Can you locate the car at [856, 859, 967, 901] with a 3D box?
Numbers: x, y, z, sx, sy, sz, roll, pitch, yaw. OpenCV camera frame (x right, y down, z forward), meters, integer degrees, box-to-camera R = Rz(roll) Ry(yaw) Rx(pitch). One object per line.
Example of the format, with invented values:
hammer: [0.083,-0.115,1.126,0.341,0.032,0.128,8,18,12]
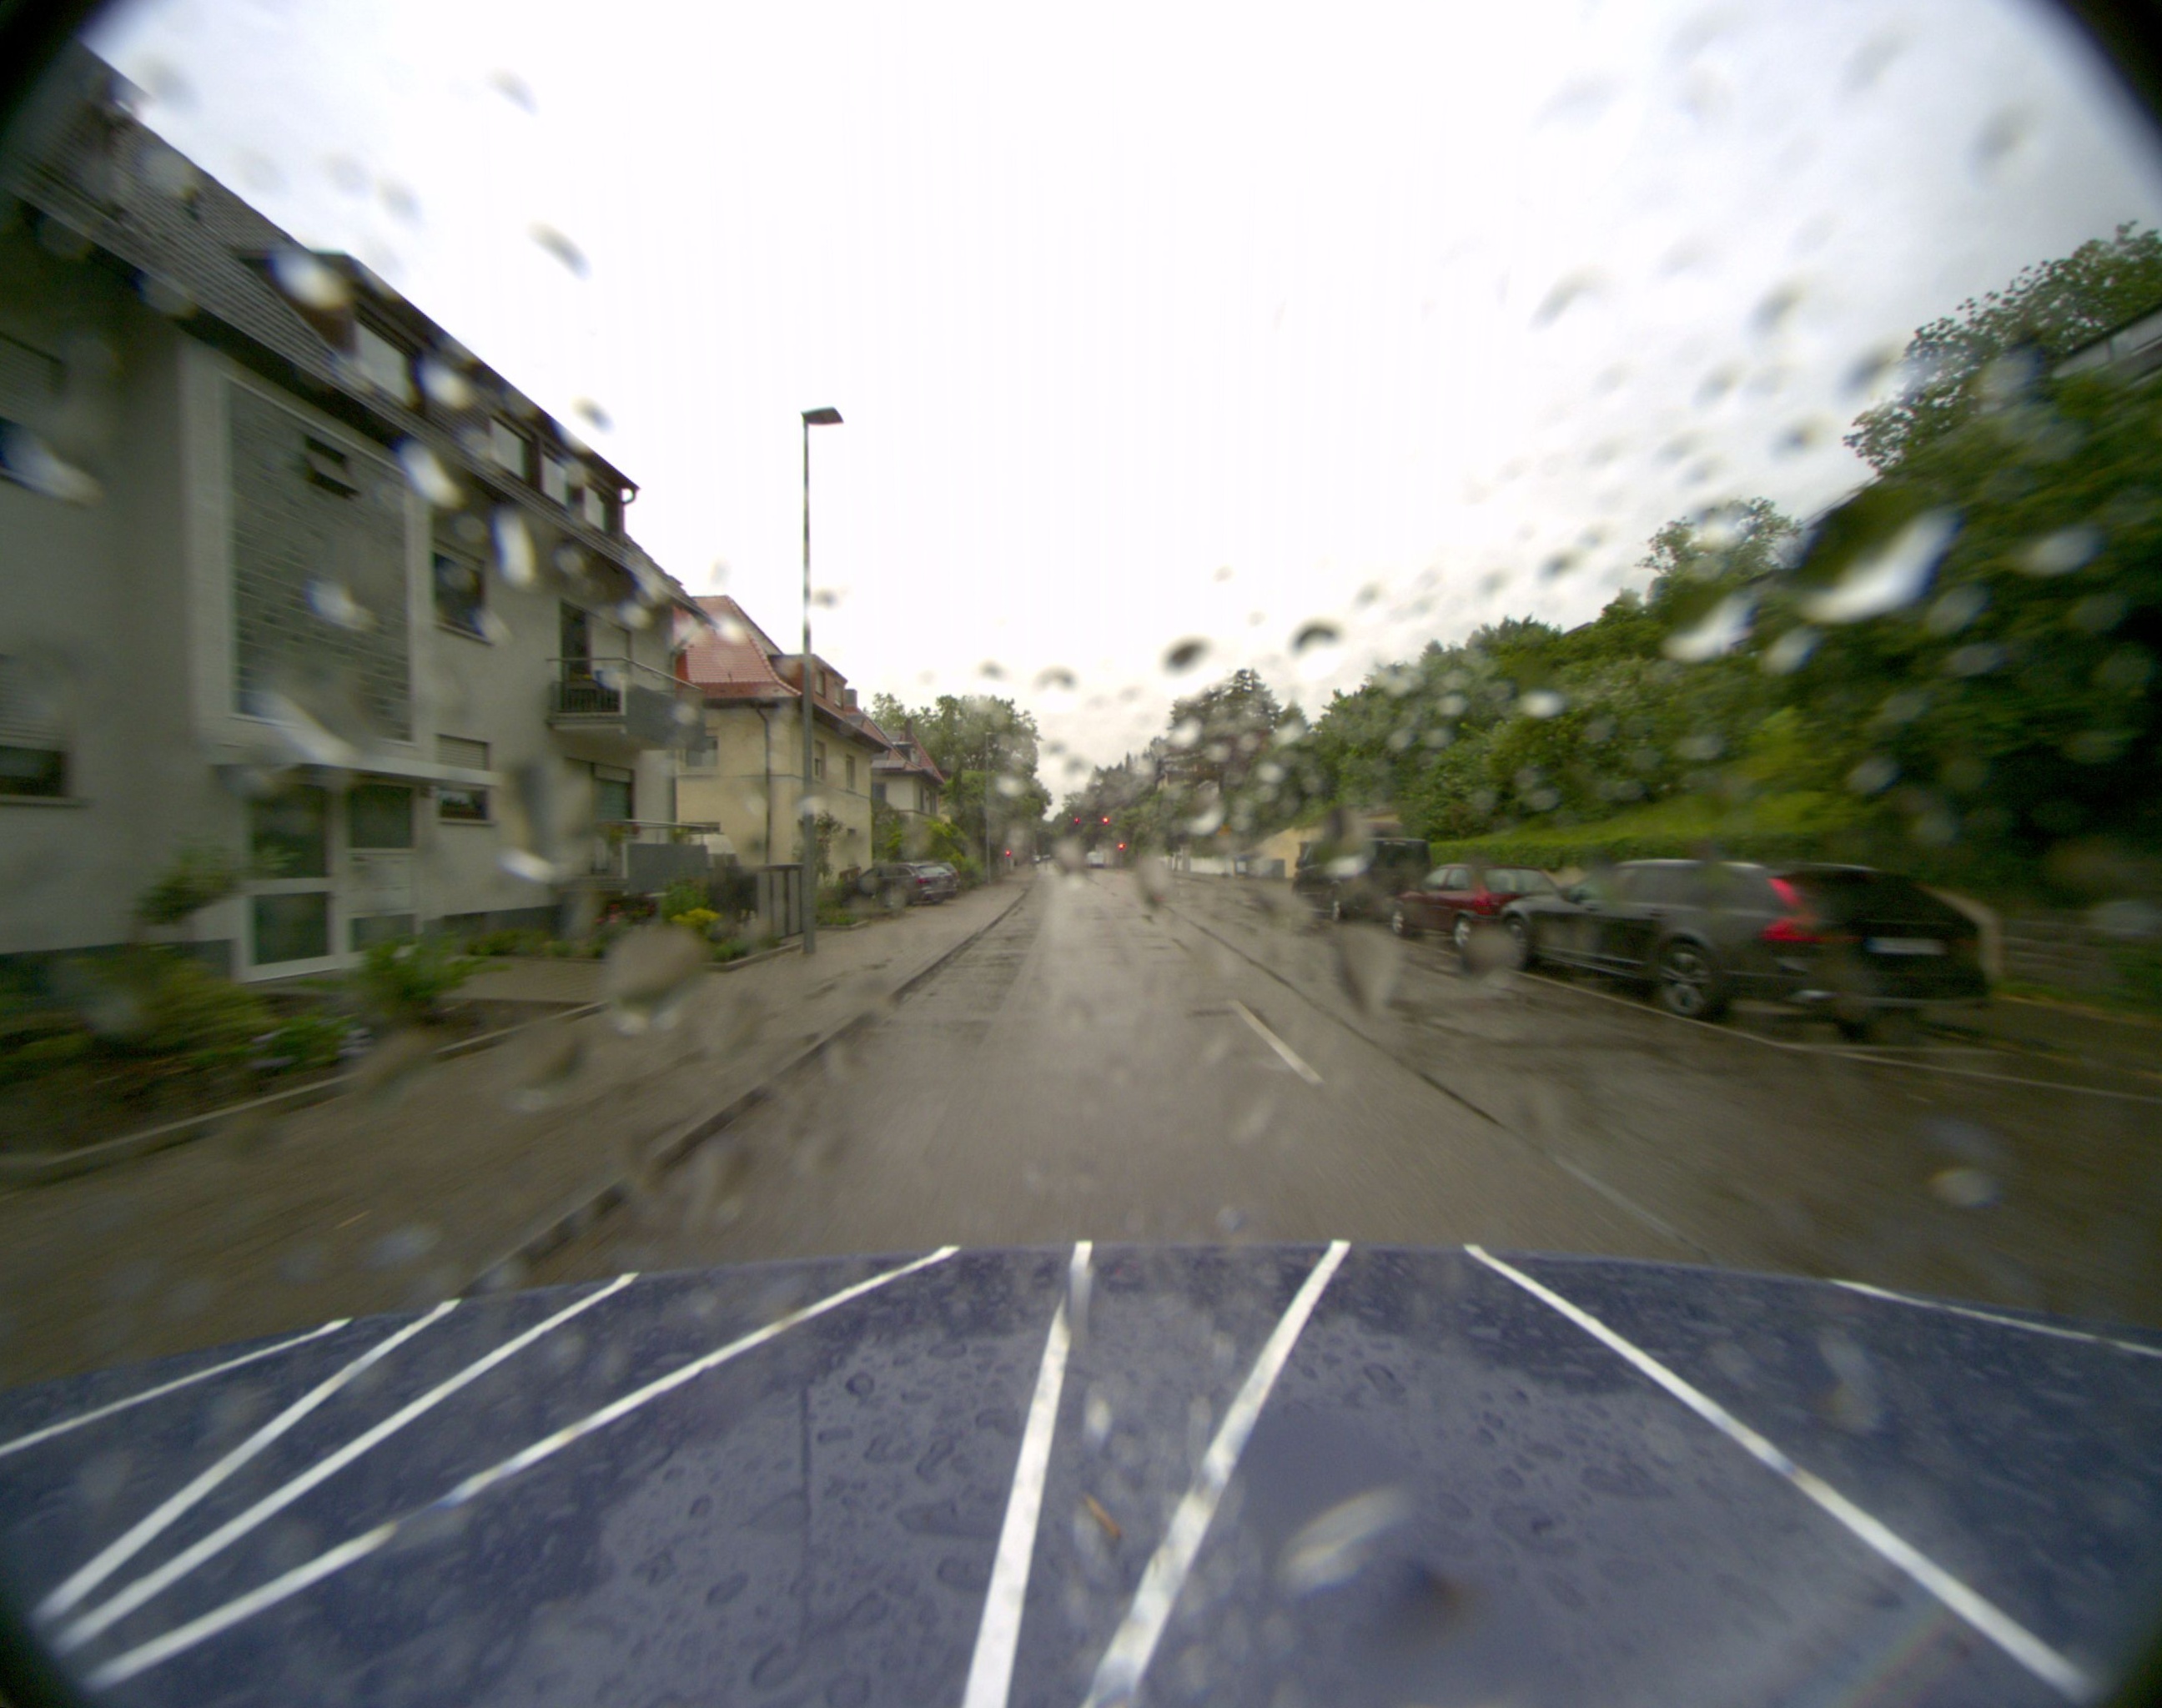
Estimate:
car: [-6.398,0.939,28.601,3.989,1.448,1.776,0,-1,33]

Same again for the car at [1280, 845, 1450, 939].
car: [6.672,0.803,18.637,2.164,1.907,5.323,1,0,1]

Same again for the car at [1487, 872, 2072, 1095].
car: [6.555,1.037,8.138,1.913,1.472,4.756,3,0,2]

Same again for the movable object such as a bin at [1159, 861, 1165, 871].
movable object such as a bin: [8.191,1.213,77.037,0.544,0.934,0.416,-1,0,-5]

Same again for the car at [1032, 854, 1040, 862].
car: [-10.349,0.974,175.722,1.925,1.888,3.999,-1,0,-3]

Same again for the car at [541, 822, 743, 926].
car: [-12.239,0.587,21.448,4.471,2.742,2.007,-1,-3,-1]

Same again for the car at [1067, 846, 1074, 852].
car: [-3.347,-1.678,237.726,1.925,1.888,4.001,-1,0,2]

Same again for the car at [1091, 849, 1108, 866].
car: [2.871,0.497,118.861,2.085,2.463,4.852,3,0,-4]

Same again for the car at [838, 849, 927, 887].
car: [-10.317,0.707,39.671,3.997,1.570,1.821,-6,0,2]

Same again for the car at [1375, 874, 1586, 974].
car: [6.767,1.105,13.389,1.568,1.356,3.907,2,0,-1]

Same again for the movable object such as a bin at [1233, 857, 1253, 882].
movable object such as a bin: [9.706,0.933,45.568,0.935,1.437,0.861,-3,1,-3]

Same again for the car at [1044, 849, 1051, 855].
car: [-10.799,-0.718,245.314,1.924,1.888,4.001,-1,0,3]

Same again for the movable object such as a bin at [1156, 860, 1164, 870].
movable object such as a bin: [8.132,1.148,77.848,0.683,1.034,0.657,-1,0,-5]

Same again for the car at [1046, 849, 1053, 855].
car: [-10.492,-0.613,255.189,1.924,1.888,4.001,-1,0,5]

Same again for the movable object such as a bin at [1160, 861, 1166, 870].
movable object such as a bin: [8.241,1.205,76.525,0.532,0.893,0.416,-1,0,-5]

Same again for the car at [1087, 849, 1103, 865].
car: [2.275,0.525,124.185,2.163,2.454,4.914,3,0,-4]

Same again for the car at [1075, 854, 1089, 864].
car: [0.127,0.908,143.191,2.163,1.815,4.914,3,0,-4]

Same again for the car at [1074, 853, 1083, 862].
car: [-0.556,0.771,168.475,1.925,1.747,3.999,-1,0,-3]

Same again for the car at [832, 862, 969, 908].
car: [-6.050,0.983,25.319,4.370,1.356,1.923,0,1,33]
